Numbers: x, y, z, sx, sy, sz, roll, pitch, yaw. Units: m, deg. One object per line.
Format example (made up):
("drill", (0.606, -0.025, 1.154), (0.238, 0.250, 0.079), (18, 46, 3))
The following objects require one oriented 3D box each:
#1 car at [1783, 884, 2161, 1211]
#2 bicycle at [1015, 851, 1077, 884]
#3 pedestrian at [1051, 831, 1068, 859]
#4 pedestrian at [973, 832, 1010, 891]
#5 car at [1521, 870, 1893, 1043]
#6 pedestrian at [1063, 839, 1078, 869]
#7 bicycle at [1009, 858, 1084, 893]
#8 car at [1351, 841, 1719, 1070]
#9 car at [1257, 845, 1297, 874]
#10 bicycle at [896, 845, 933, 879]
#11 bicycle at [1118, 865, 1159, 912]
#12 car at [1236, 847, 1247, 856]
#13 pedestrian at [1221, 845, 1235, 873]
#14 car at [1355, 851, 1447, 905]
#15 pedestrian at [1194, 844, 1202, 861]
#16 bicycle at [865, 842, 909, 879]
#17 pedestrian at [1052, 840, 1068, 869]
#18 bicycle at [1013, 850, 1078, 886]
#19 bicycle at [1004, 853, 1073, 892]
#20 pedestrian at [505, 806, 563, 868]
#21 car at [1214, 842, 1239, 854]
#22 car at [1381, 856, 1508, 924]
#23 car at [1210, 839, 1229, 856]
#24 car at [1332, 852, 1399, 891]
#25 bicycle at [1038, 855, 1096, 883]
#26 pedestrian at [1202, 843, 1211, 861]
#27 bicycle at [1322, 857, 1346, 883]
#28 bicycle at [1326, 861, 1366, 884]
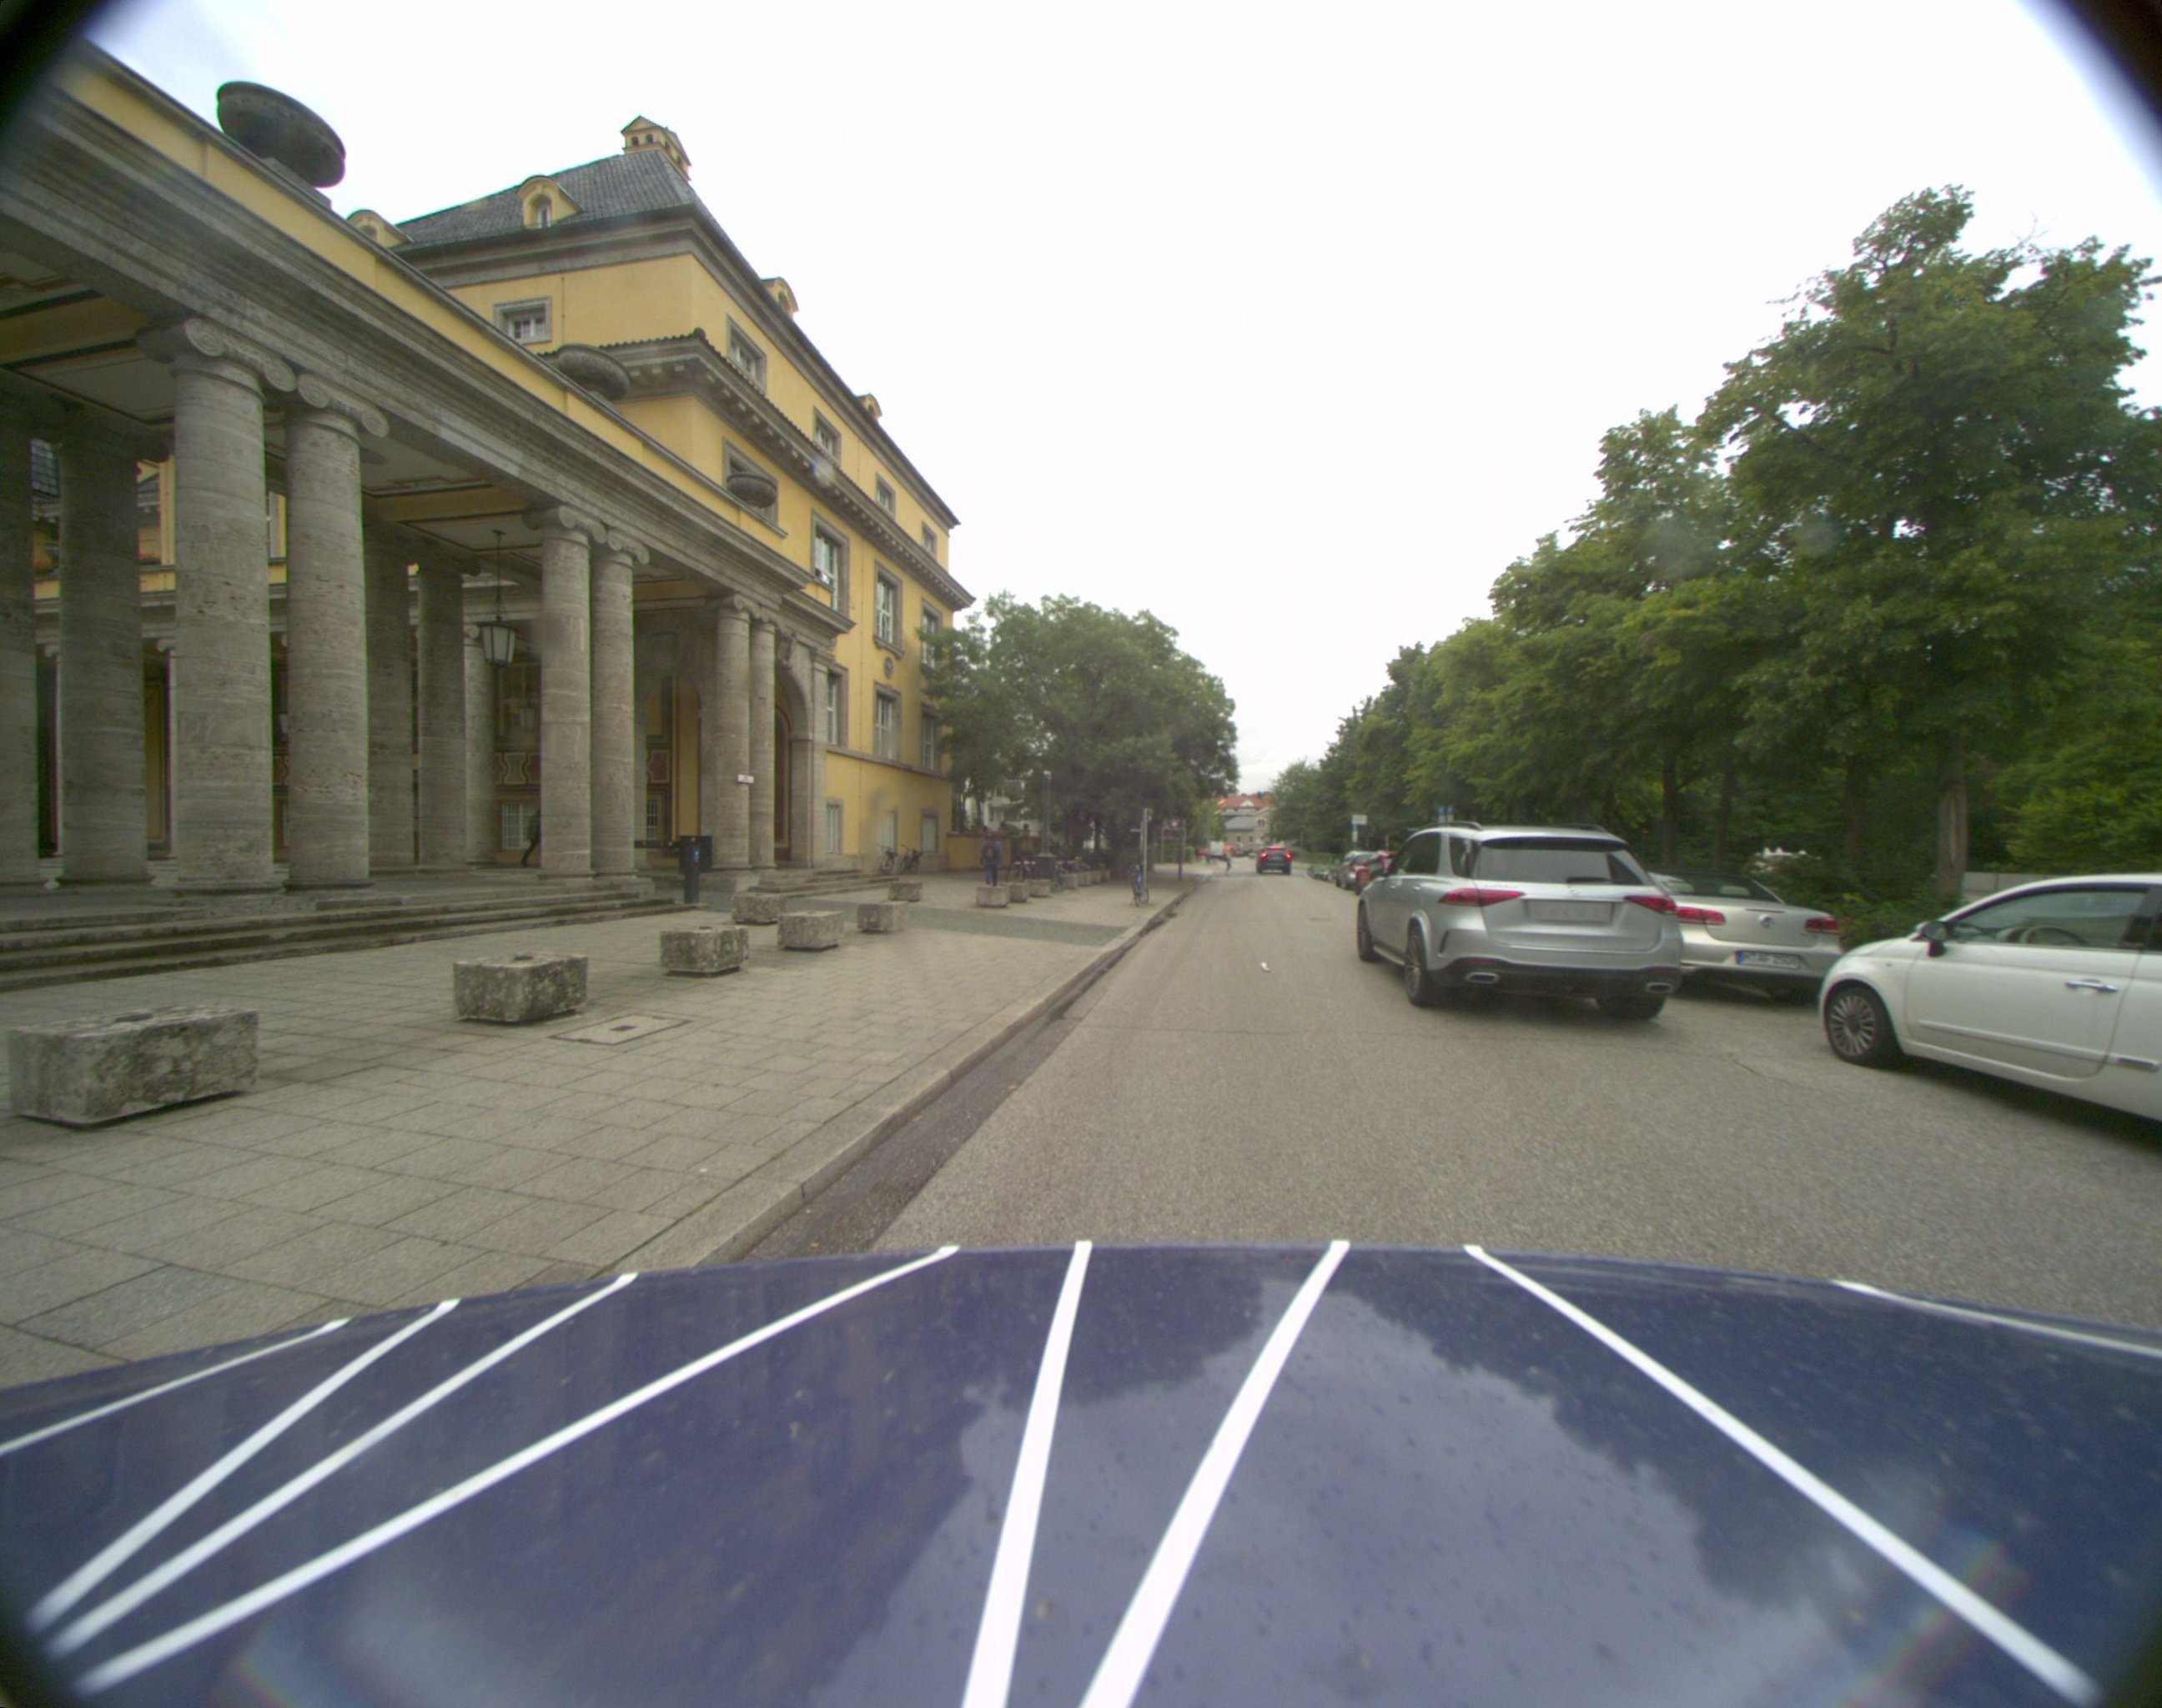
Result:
("car", (6.165, 1.020, 4.291), (1.546, 1.462, 3.556), (3, 1, 11))
("bicycle", (-1.323, 0.507, 28.967), (2.262, 1.018, 0.601), (6, 2, 1))
("pedestrian", (-1.466, -0.593, 52.020), (0.781, 1.855, 1.036), (4, 2, 11))
("pedestrian", (-2.716, 0.209, 23.116), (0.789, 1.736, 1.056), (2, 1, 11))
("car", (7.180, 1.013, 9.386), (1.760, 1.392, 4.221), (4, 1, 13))
("pedestrian", (-0.645, 0.008, 48.273), (0.658, 1.855, 0.821), (4, 3, 11))
("bicycle", (-1.124, 0.700, 24.966), (2.368, 1.000, 0.678), (3, 1, 3))
("car", (4.301, 0.745, 8.221), (2.027, 1.679, 4.682), (2, 1, 13))
("car", (12.430, 0.297, 48.419), (1.963, 1.672, 4.915), (3, 1, 9))
("bicycle", (-6.607, 0.301, 30.204), (0.601, 1.299, 2.166), (2, 1, 11))
("bicycle", (1.569, 0.894, 20.373), (0.761, 1.094, 2.266), (3, 1, 11))
("car", (33.372, -0.529, 157.855), (2.220, 1.840, 4.734), (-2, 1, 11))
("pedestrian", (9.230, 0.297, 47.722), (0.797, 1.722, 0.661), (-2, 1, 10))
("car", (10.389, 0.716, 25.007), (1.996, 1.535, 4.368), (2, 1, 13))
("pedestrian", (12.546, -0.168, 81.481), (0.776, 1.855, 0.997), (-2, 1, 4))
("bicycle", (-7.082, 0.212, 27.891), (0.601, 1.299, 2.266), (2, 1, 12))
("pedestrian", (-1.332, 0.027, 48.479), (0.740, 1.734, 0.842), (4, 2, 11))
("bicycle", (-1.288, 0.513, 28.028), (2.262, 1.053, 0.601), (6, 2, 1))
("bicycle", (-1.464, 0.626, 26.274), (2.262, 1.088, 0.601), (6, 2, 1))
("pedestrian", (-15.693, -0.483, 21.807), (0.984, 1.710, 0.806), (-2, 1, 1))
("car", (32.269, -1.241, 168.738), (2.577, 2.521, 4.975), (-3, 1, -35))
("car", (9.380, 0.841, 20.042), (1.996, 1.452, 4.651), (2, 1, 13))
("car", (19.509, -0.984, 107.124), (2.234, 2.289, 4.732), (-2, 1, 6))
("car", (11.813, 0.660, 31.797), (1.996, 1.452, 4.368), (2, 1, 13))
("bicycle", (-0.566, 0.605, 31.015), (2.259, 1.005, 0.602), (3, 1, 14))
("pedestrian", (13.442, -0.203, 81.322), (0.776, 1.855, 0.998), (-2, 1, 5))
("bicycle", (12.839, 0.798, 38.509), (0.574, 1.275, 1.422), (0, 1, 44))
("bicycle", (12.880, 0.894, 36.942), (1.698, 1.101, 0.599), (0, 1, 3))
